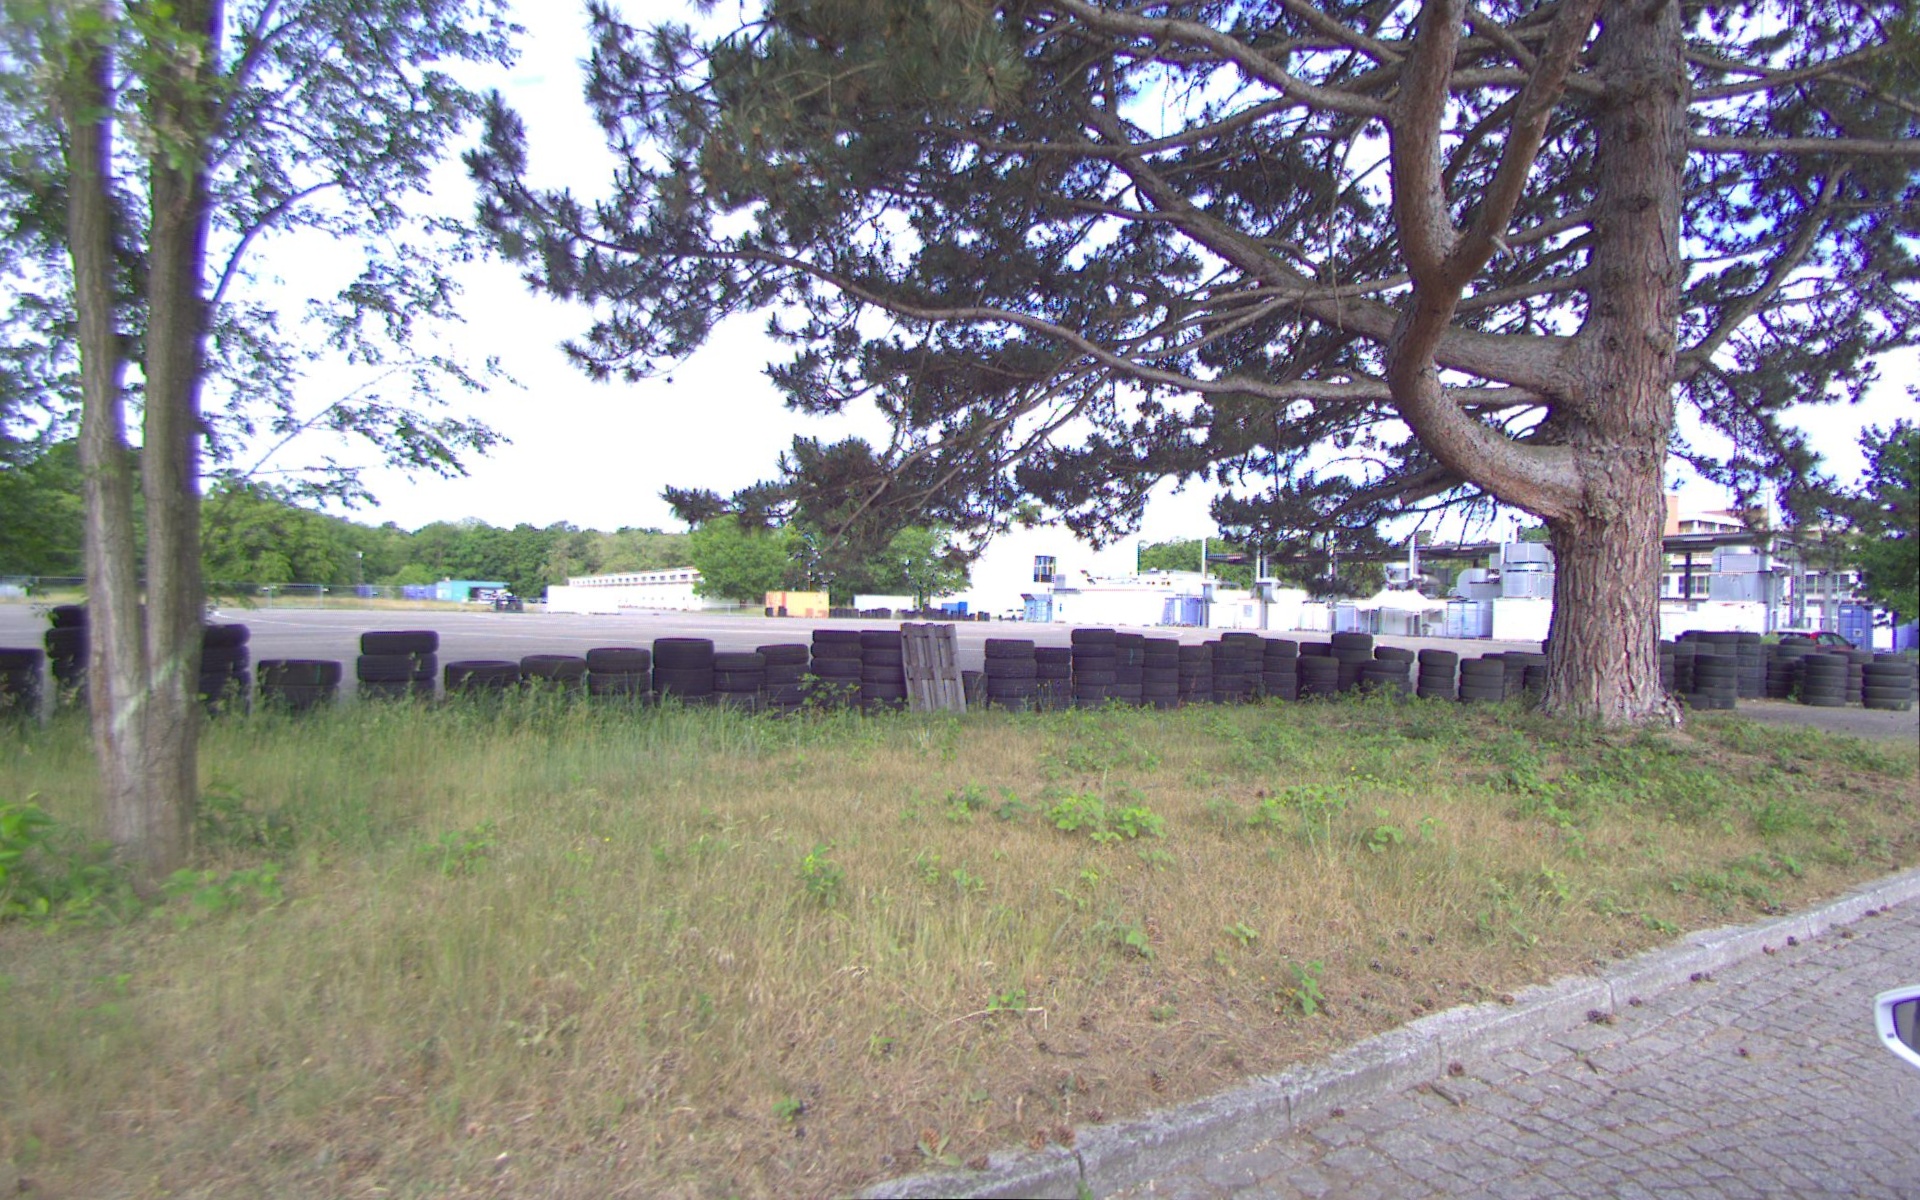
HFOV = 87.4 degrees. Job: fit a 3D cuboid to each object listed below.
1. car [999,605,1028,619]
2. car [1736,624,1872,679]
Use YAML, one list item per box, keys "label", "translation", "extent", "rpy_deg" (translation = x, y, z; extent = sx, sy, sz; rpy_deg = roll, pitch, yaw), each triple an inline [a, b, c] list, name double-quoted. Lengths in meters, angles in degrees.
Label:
- label: "car"
  translation: [6.528, 1.470, 123.066]
  extent: [1.613, 1.553, 3.944]
  rpy_deg: [2, 0, -32]
- label: "car"
  translation: [24.471, 1.474, 29.118]
  extent: [3.441, 1.472, 1.761]
  rpy_deg: [2, 0, -26]
